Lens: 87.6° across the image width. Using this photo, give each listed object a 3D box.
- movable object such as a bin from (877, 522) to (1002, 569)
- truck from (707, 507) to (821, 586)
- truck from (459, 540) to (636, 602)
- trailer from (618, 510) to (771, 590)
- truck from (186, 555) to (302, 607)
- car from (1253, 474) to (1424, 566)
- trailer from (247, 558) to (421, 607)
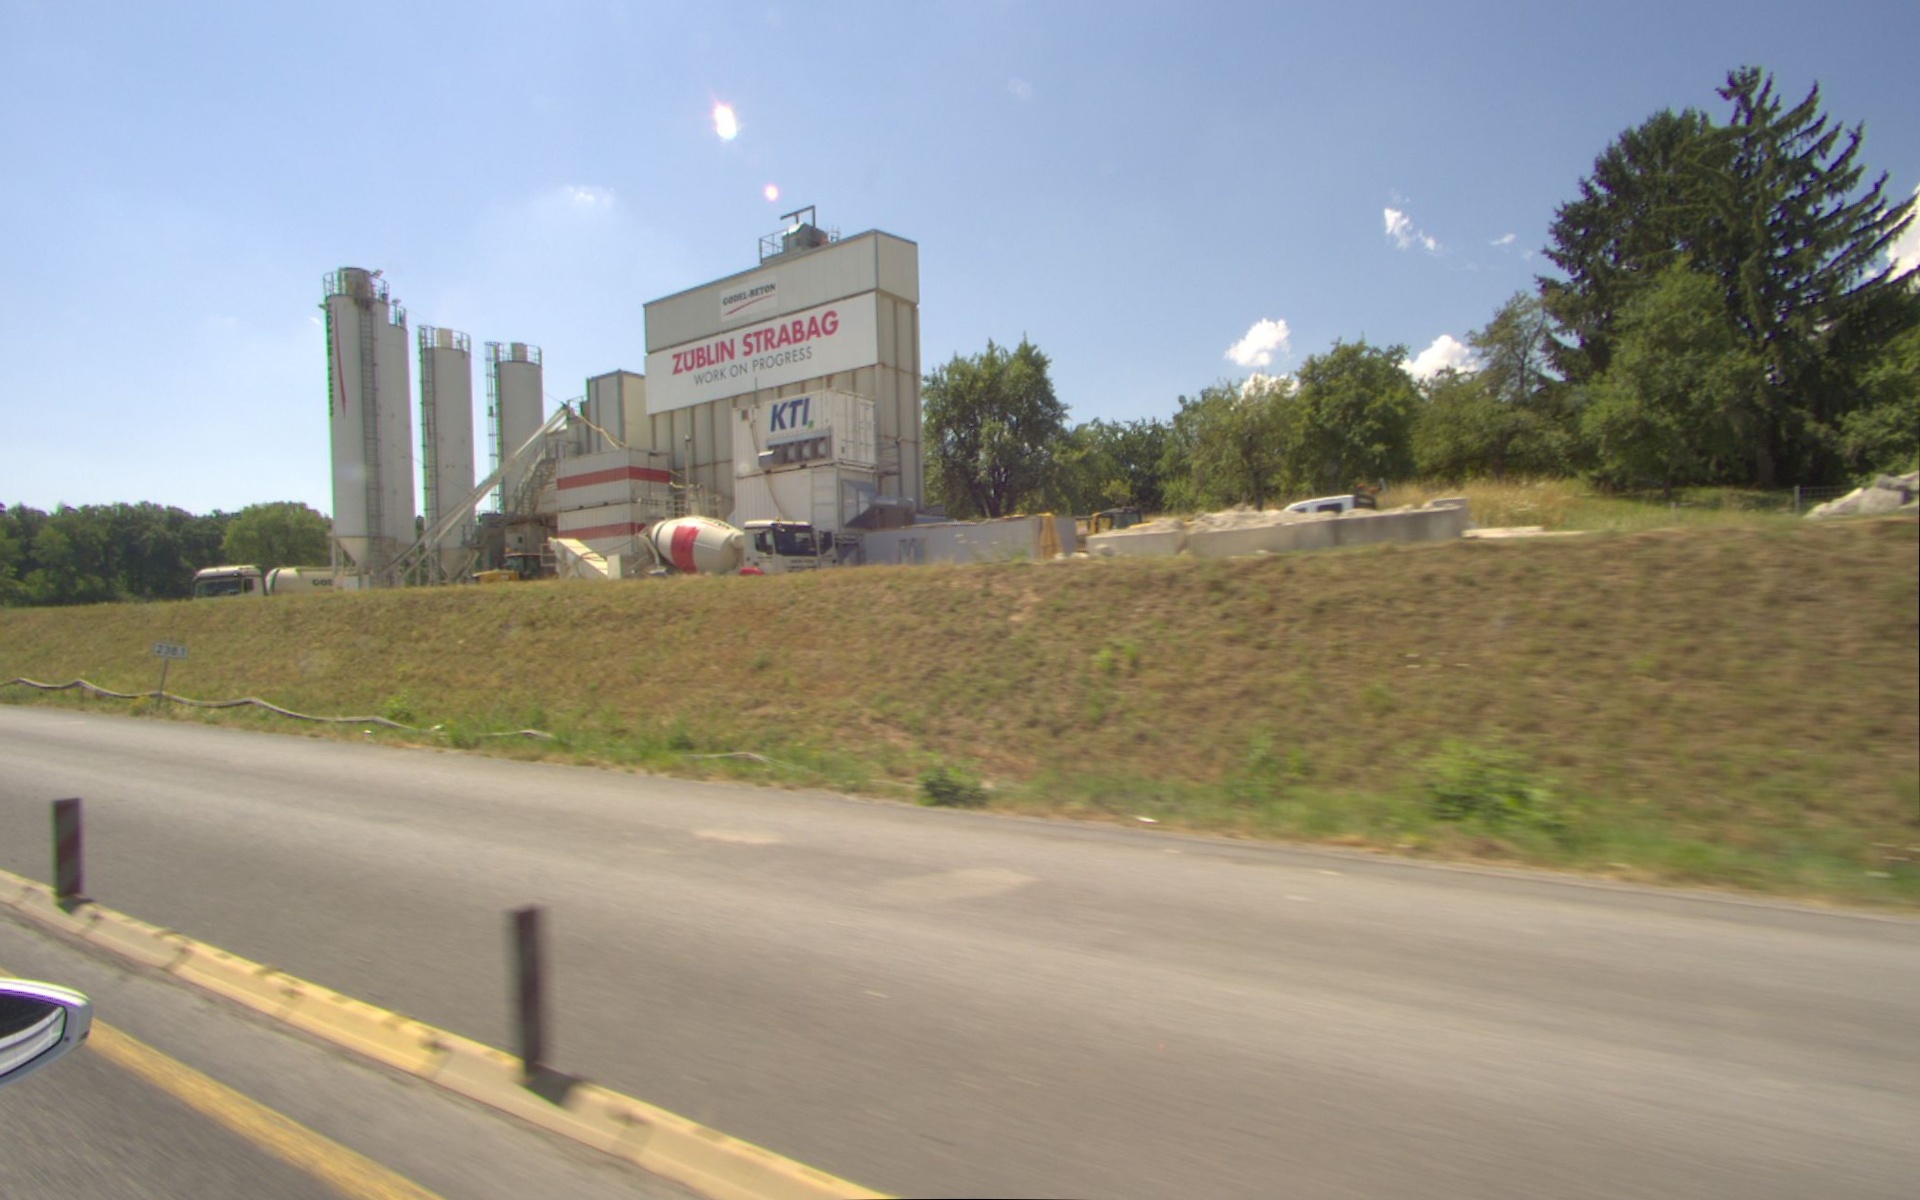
[{"bbox_3d":[-0.395,-0.974,18.411,2.217,0.690,0.835,-1,-2,32],"label":"movable object such as a bin"},{"bbox_3d":[-7.329,-1.914,37.375,3.987,2.577,2.012,-1,-2,35],"label":"truck"},{"bbox_3d":[-22.455,-1.460,55.117,2.429,2.904,9.041,-1,-2,37],"label":"truck"},{"bbox_3d":[-10.641,-1.877,39.793,6.845,2.678,1.988,-2,-2,36],"label":"trailer"},{"bbox_3d":[-39.349,-0.996,55.242,2.849,2.576,5.310,0,-2,-4],"label":"truck"},{"bbox_3d":[9.085,-1.847,24.071,3.550,1.785,1.982,-1,-2,32],"label":"car"},{"bbox_3d":[-37.580,-0.943,60.552,2.426,2.640,8.888,-1,-1,28],"label":"trailer"}]
